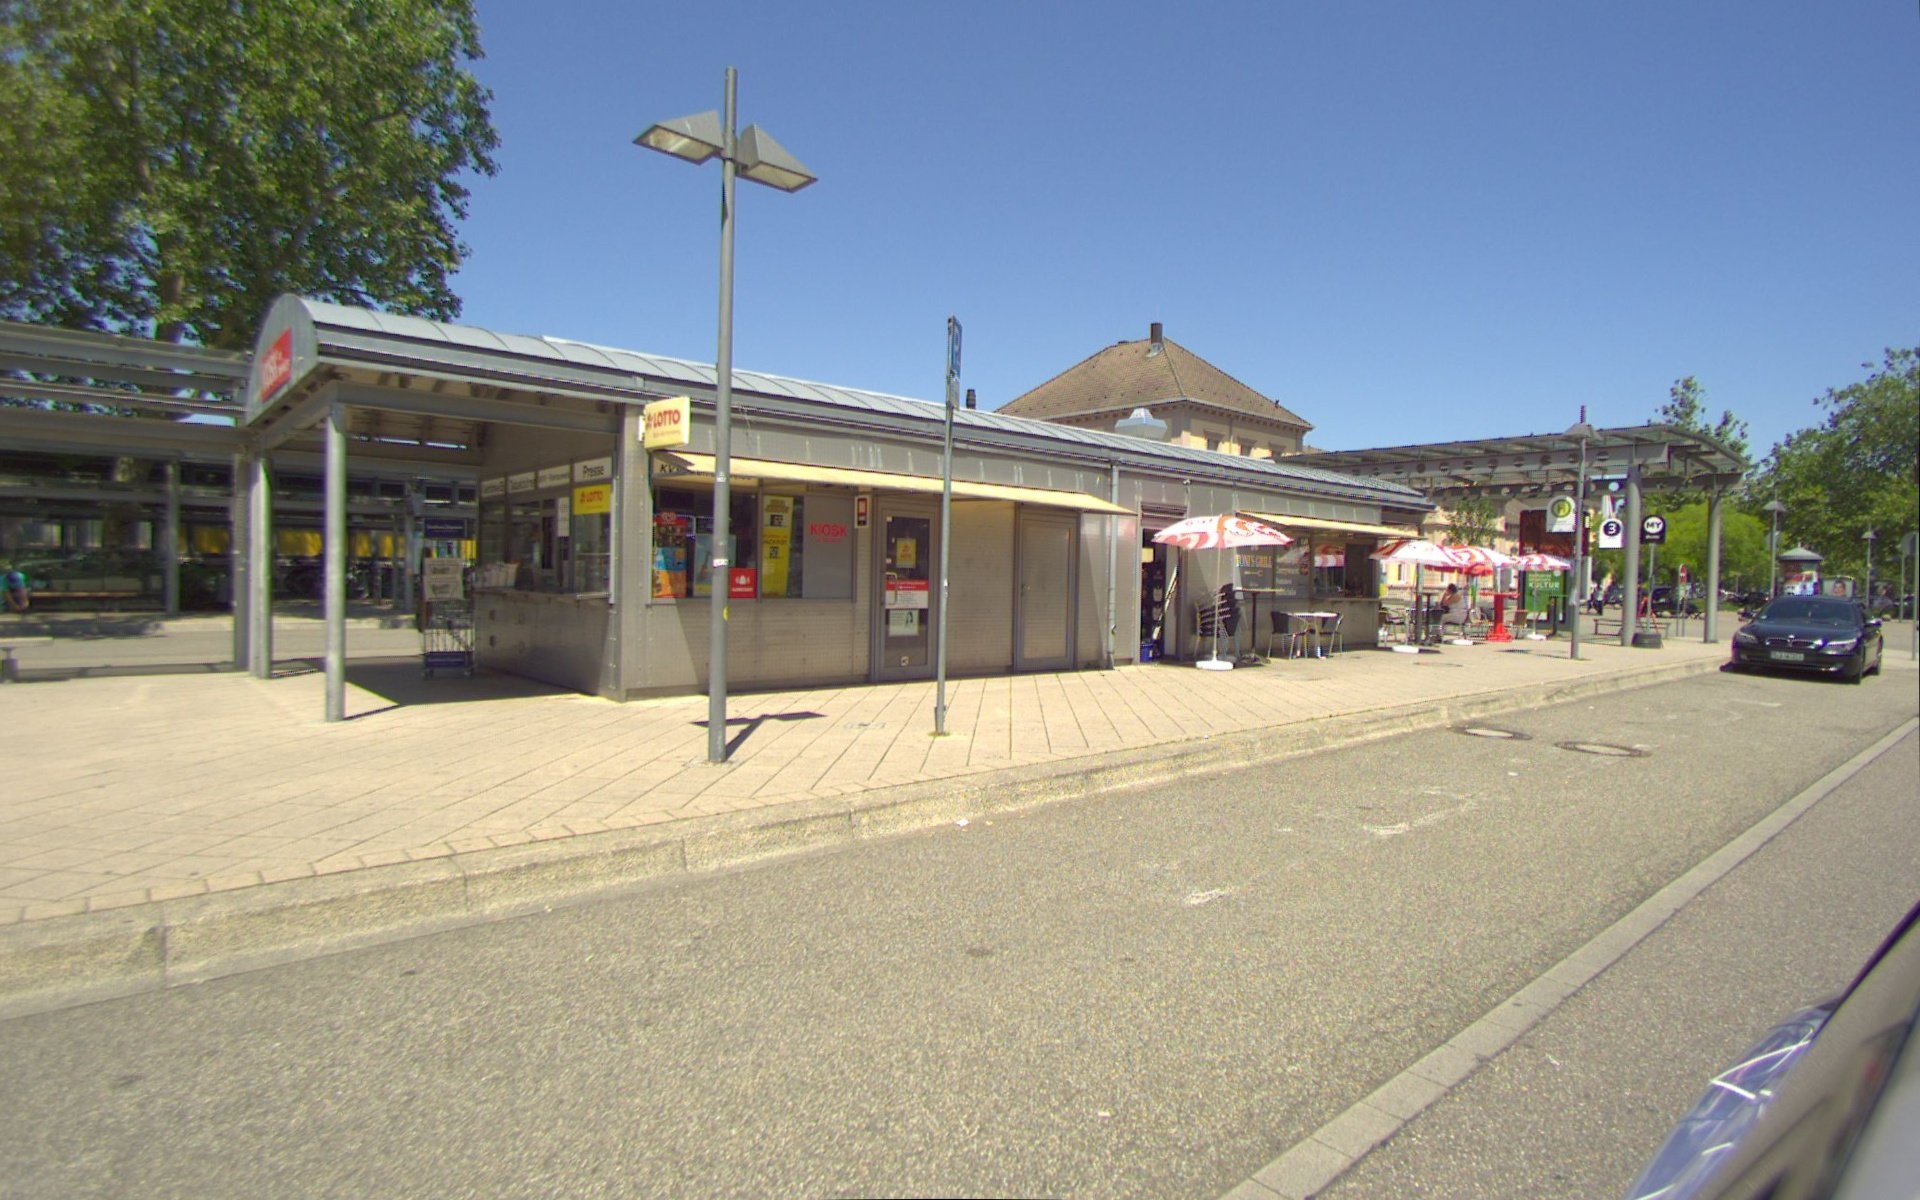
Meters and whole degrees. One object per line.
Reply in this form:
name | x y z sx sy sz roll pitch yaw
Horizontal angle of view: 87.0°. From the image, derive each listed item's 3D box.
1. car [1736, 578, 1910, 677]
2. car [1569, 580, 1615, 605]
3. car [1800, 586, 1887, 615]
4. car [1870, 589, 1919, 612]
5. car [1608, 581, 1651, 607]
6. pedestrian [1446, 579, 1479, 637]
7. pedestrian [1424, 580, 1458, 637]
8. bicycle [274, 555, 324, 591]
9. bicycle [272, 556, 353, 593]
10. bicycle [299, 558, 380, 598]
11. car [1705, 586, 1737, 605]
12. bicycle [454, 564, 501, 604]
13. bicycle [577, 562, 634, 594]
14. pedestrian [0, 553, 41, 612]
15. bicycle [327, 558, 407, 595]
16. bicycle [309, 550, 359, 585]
car | 15.971 0.426 18.663 4.109 1.563 1.778 0 4 -41
car | 49.656 -0.628 79.462 3.930 1.903 1.997 0 2 -41
car | 56.130 0.011 64.342 1.967 1.685 3.991 0 2 -44
car | 73.786 0.046 79.060 3.986 1.685 1.969 2 2 43
car | 55.754 -0.506 84.294 3.930 2.038 1.997 0 2 -41
pedestrian | 10.985 0.160 22.113 0.502 1.247 0.505 2 1 44
pedestrian | 10.582 0.174 22.271 0.463 1.226 0.490 0 1 -34
bicycle | -22.083 -0.908 33.812 2.157 1.086 0.662 3 6 37
bicycle | -20.956 -0.839 32.756 2.130 1.086 0.670 -4 6 -37
bicycle | -19.112 -0.689 31.231 0.662 1.086 2.156 1 5 21
car | 85.746 -0.490 114.028 3.930 2.038 1.997 0 2 -41
bicycle | -14.836 -0.500 31.108 0.659 1.086 2.166 -4 6 -43
bicycle | -13.382 -0.828 38.162 2.153 1.086 0.854 3 6 32
pedestrian | -20.942 -0.395 22.401 0.854 1.290 0.829 0 2 -44
bicycle | -19.203 -0.770 32.797 2.131 1.086 0.670 -4 6 -37
bicycle | -21.350 -1.132 34.521 2.157 1.086 0.662 3 6 37
